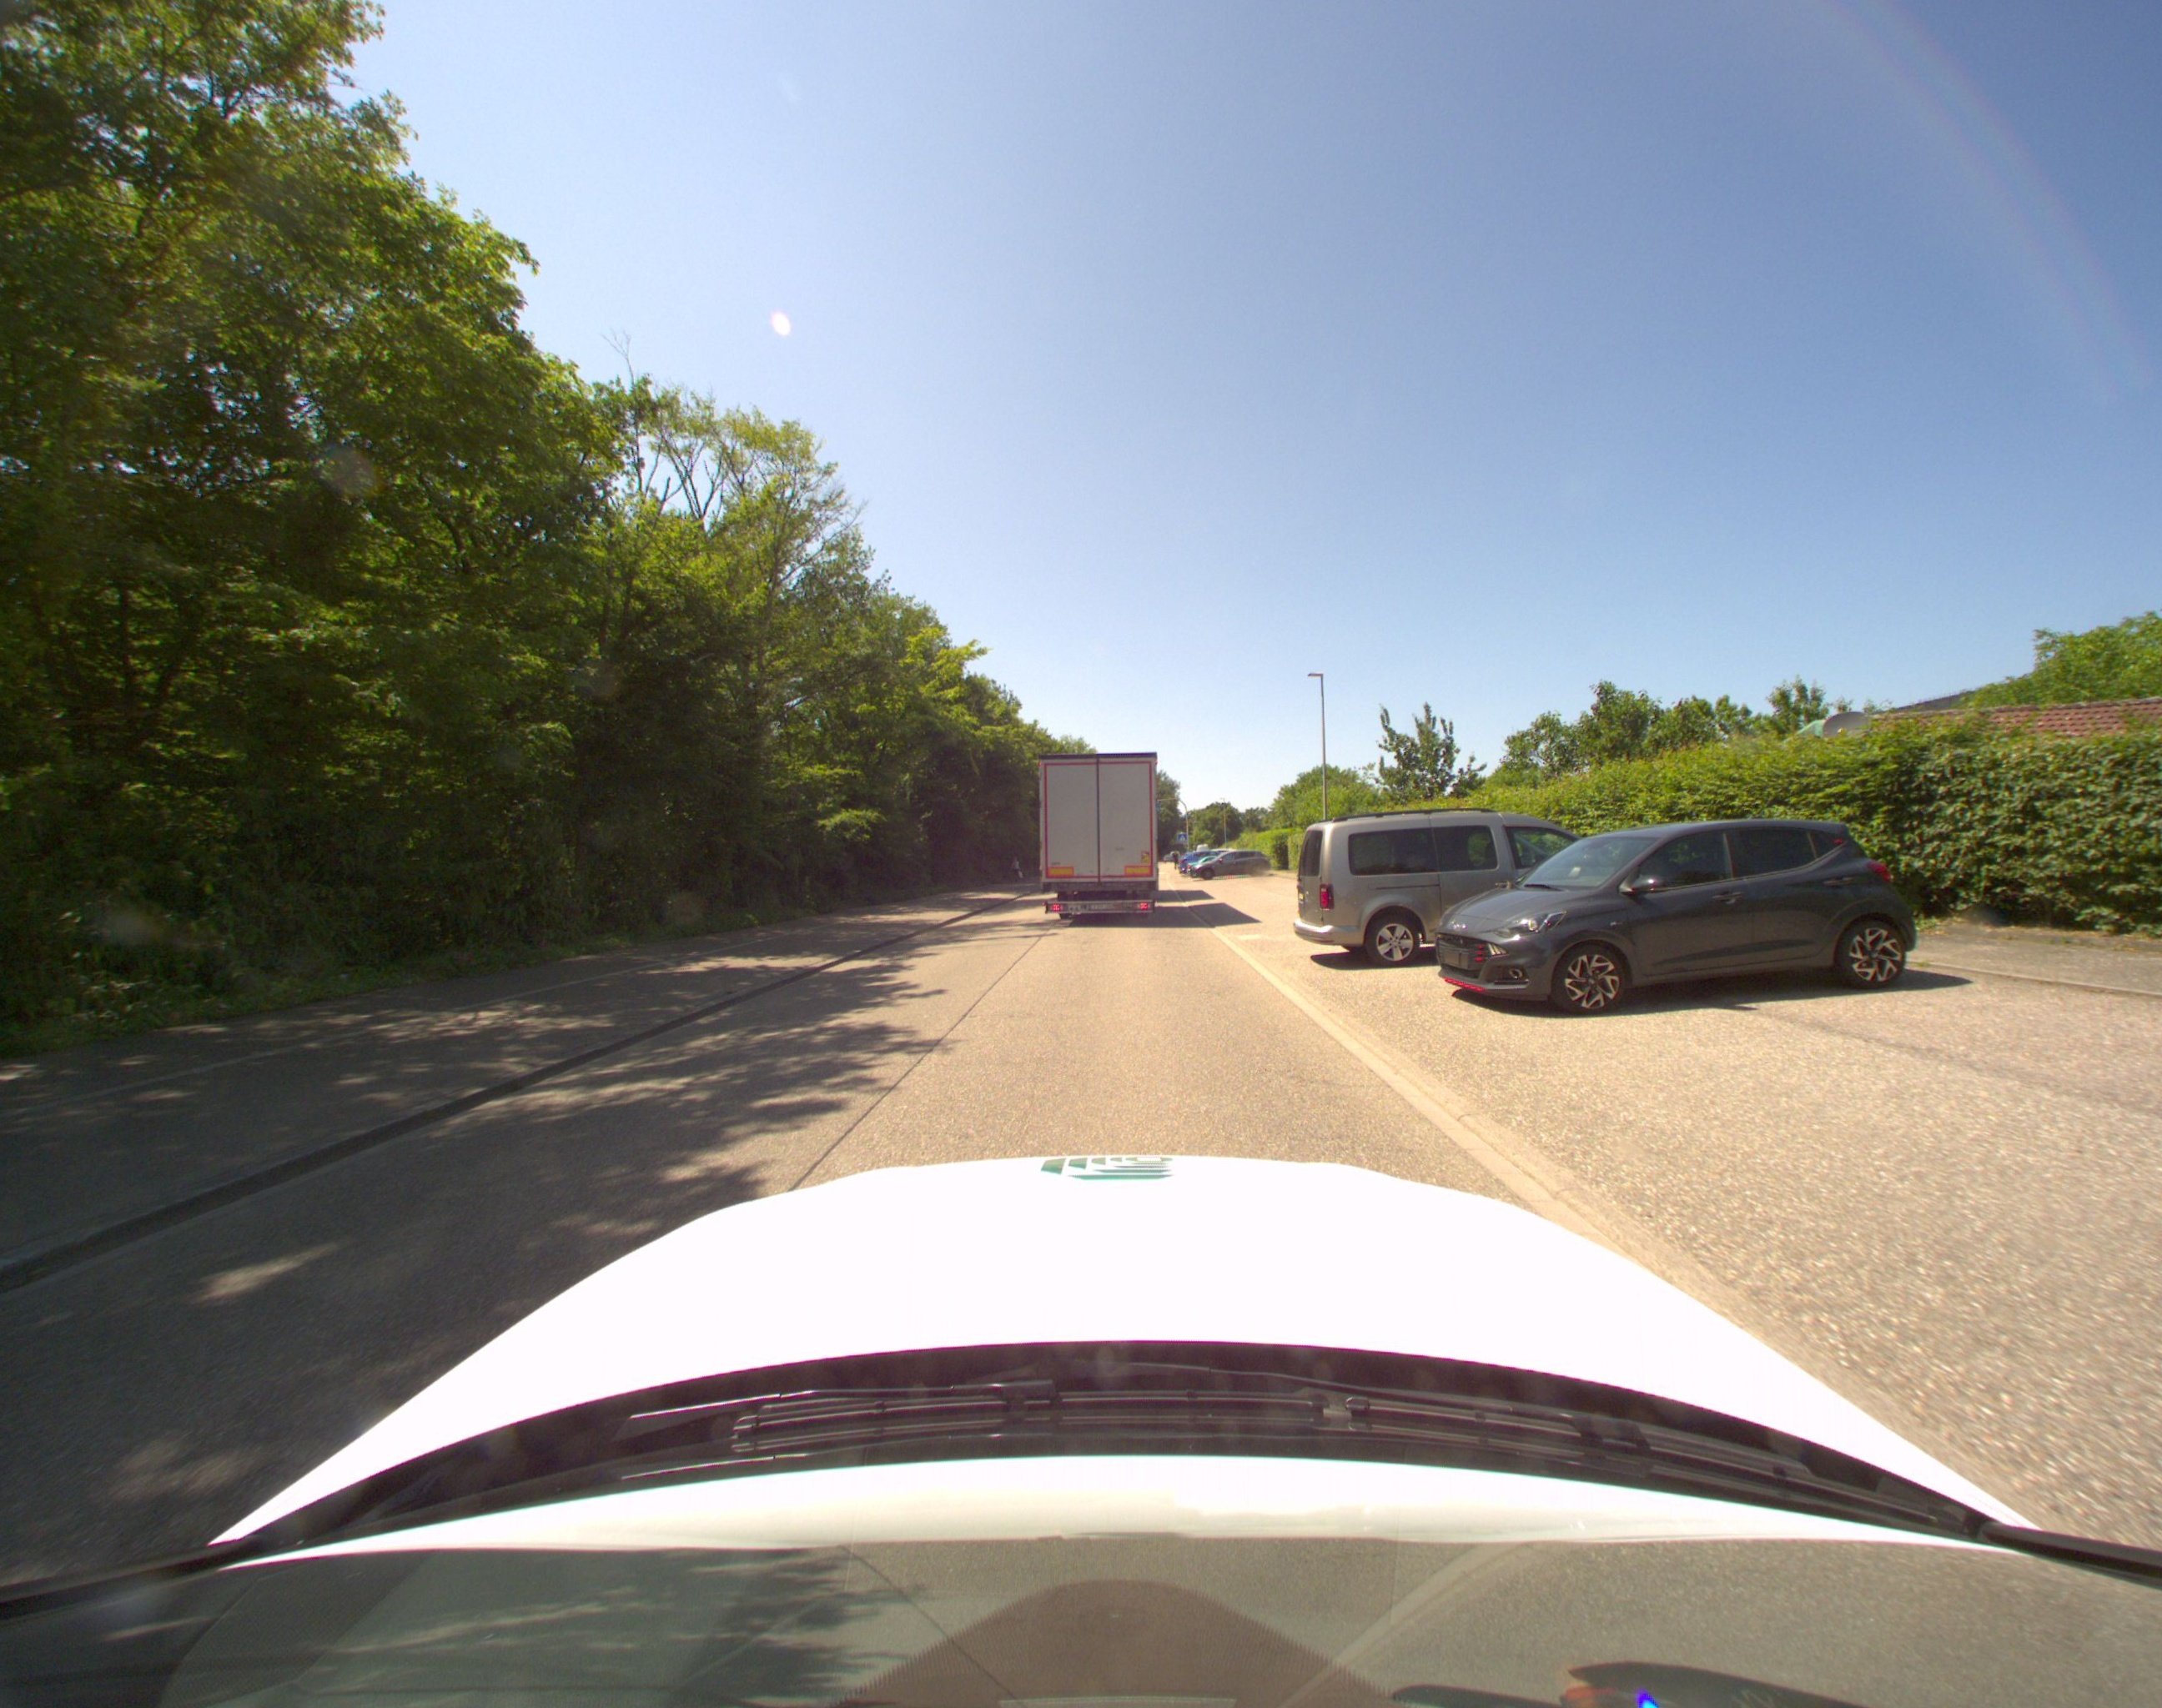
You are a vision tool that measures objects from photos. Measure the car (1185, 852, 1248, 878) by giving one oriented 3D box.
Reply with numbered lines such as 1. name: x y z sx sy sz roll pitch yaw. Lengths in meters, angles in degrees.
1. car: 8.323 0.661 50.325 3.716 1.268 1.630 -5 -1 6

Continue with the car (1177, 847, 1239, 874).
1. car: 9.194 0.482 59.118 4.217 1.654 1.901 -3 -2 3

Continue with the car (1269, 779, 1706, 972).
1. car: 5.043 0.264 10.688 4.602 1.848 1.997 -6 0 3

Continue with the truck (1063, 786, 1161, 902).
1. truck: 1.232 -0.311 30.071 3.100 3.725 6.420 -2 0 4

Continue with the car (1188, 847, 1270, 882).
1. car: 7.958 0.572 44.091 4.145 1.495 1.885 -5 -1 4

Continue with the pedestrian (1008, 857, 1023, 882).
1. pedestrian: -4.382 1.038 54.521 0.824 1.622 0.784 -1 0 3

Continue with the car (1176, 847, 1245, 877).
1. car: 8.379 0.533 53.093 4.219 1.634 1.825 -4 -1 4

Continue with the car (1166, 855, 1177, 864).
1. car: 15.292 0.857 137.883 1.773 1.486 4.004 -2 0 4

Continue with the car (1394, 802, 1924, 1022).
1. car: 5.083 0.462 7.535 3.567 1.502 1.840 -4 0 -3

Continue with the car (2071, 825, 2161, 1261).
1. car: 5.448 0.413 1.743 4.186 1.388 1.842 -6 0 3

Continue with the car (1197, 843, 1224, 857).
1. car: 19.587 -0.608 123.403 3.934 1.798 1.817 -5 -3 8

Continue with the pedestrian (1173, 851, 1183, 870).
1. pedestrian: 9.808 0.652 82.417 0.816 1.834 0.795 -5 -1 11

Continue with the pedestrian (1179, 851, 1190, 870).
1. pedestrian: 10.224 0.684 80.379 0.902 1.798 0.938 -5 -1 11

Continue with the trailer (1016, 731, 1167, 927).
1. trailer: 0.697 -0.531 23.224 3.098 4.102 11.551 -2 0 5
